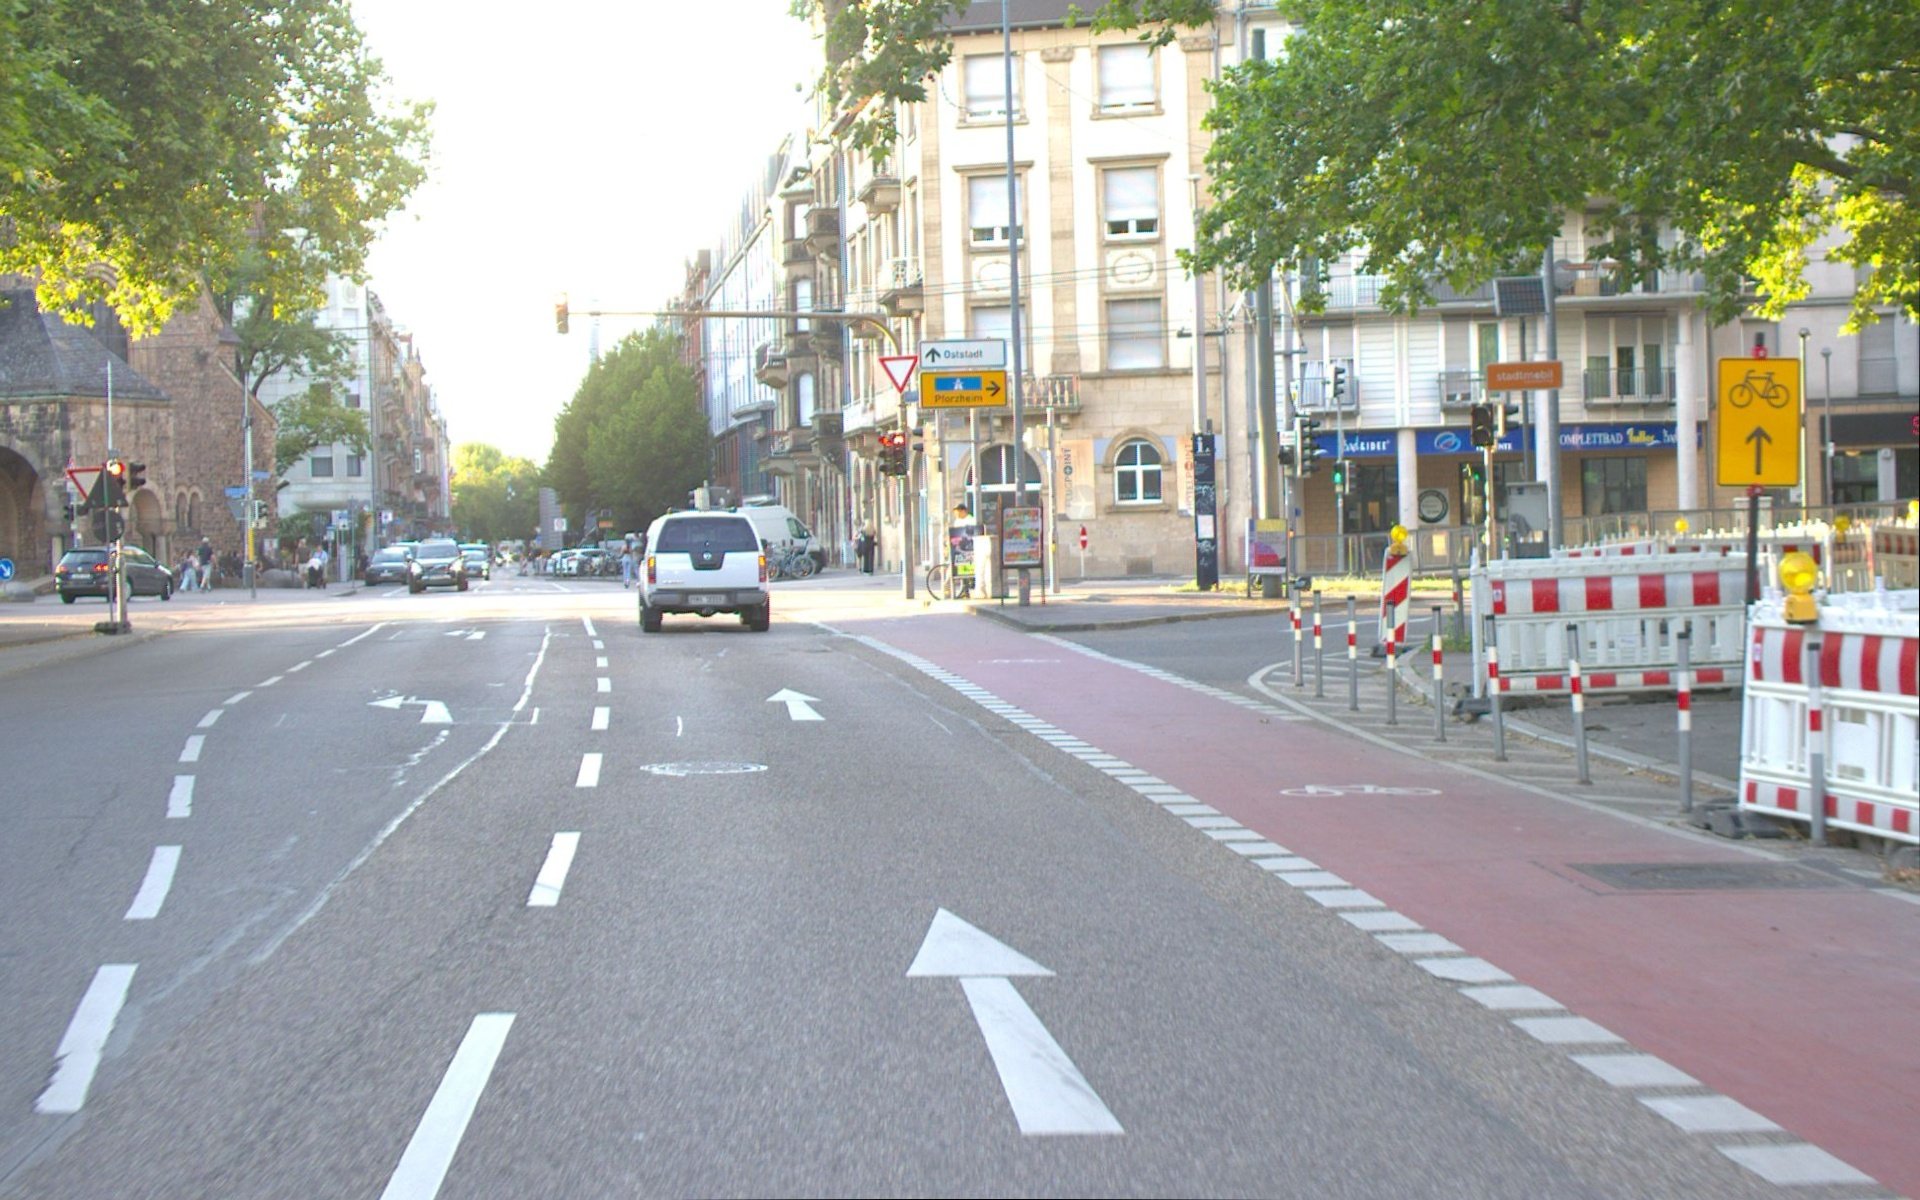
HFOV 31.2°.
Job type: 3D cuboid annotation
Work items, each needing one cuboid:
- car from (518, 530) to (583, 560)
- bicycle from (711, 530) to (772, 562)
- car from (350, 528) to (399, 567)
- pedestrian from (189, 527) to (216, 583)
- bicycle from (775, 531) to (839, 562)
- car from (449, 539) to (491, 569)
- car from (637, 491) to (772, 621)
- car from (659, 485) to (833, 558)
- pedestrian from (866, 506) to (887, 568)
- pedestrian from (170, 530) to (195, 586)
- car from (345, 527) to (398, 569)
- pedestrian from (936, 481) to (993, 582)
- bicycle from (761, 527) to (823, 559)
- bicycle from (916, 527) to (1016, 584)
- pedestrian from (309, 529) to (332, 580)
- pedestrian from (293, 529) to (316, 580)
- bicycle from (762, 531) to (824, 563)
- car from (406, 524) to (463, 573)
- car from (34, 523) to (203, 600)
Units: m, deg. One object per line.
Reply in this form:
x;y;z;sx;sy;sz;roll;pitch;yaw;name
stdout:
-26.226;-3.539;220.110;3.986;1.809;2.001;-1;1;-9;car
-6.911;-1.706;108.799;1.914;0.965;0.546;-1;1;-4;bicycle
-25.039;-2.267;146.981;1.993;1.645;3.822;0;1;-11;car
-25.748;-1.528;116.826;0.655;1.880;0.585;0;1;24;pedestrian
-4.817;-1.685;108.469;1.916;0.965;0.545;-1;1;11;bicycle
-25.309;-2.375;177.479;1.993;1.501;3.822;0;1;-11;car
-3.840;-0.682;51.537;1.866;1.808;4.001;-2;1;-5;car
-7.049;-2.609;113.799;2.071;2.280;5.808;0;2;44;car
-2.569;-1.947;105.983;0.593;1.880;0.647;-1;1;-1;pedestrian
-26.448;-1.416;116.926;0.594;1.880;0.553;0;1;24;pedestrian
-23.858;-2.120;139.322;1.993;1.645;3.822;0;1;-11;car
0.081;-1.224;61.215;0.794;1.762;0.721;-2;1;-20;pedestrian
-5.254;-1.784;107.376;1.914;0.965;0.546;-1;1;-4;bicycle
0.105;-0.791;60.725;1.691;0.965;0.546;-1;1;-9;bicycle
-23.891;-1.710;128.465;0.594;1.880;0.553;-1;1;20;pedestrian
-24.532;-1.717;128.662;0.594;1.880;0.584;-1;1;21;pedestrian
-5.241;-1.675;107.659;1.914;0.965;0.546;-1;1;-4;bicycle
-18.022;-1.785;117.778;1.781;1.645;3.822;0;1;-11;car
-21.892;-1.029;89.656;2.080;1.835;4.627;-1;2;19;car
